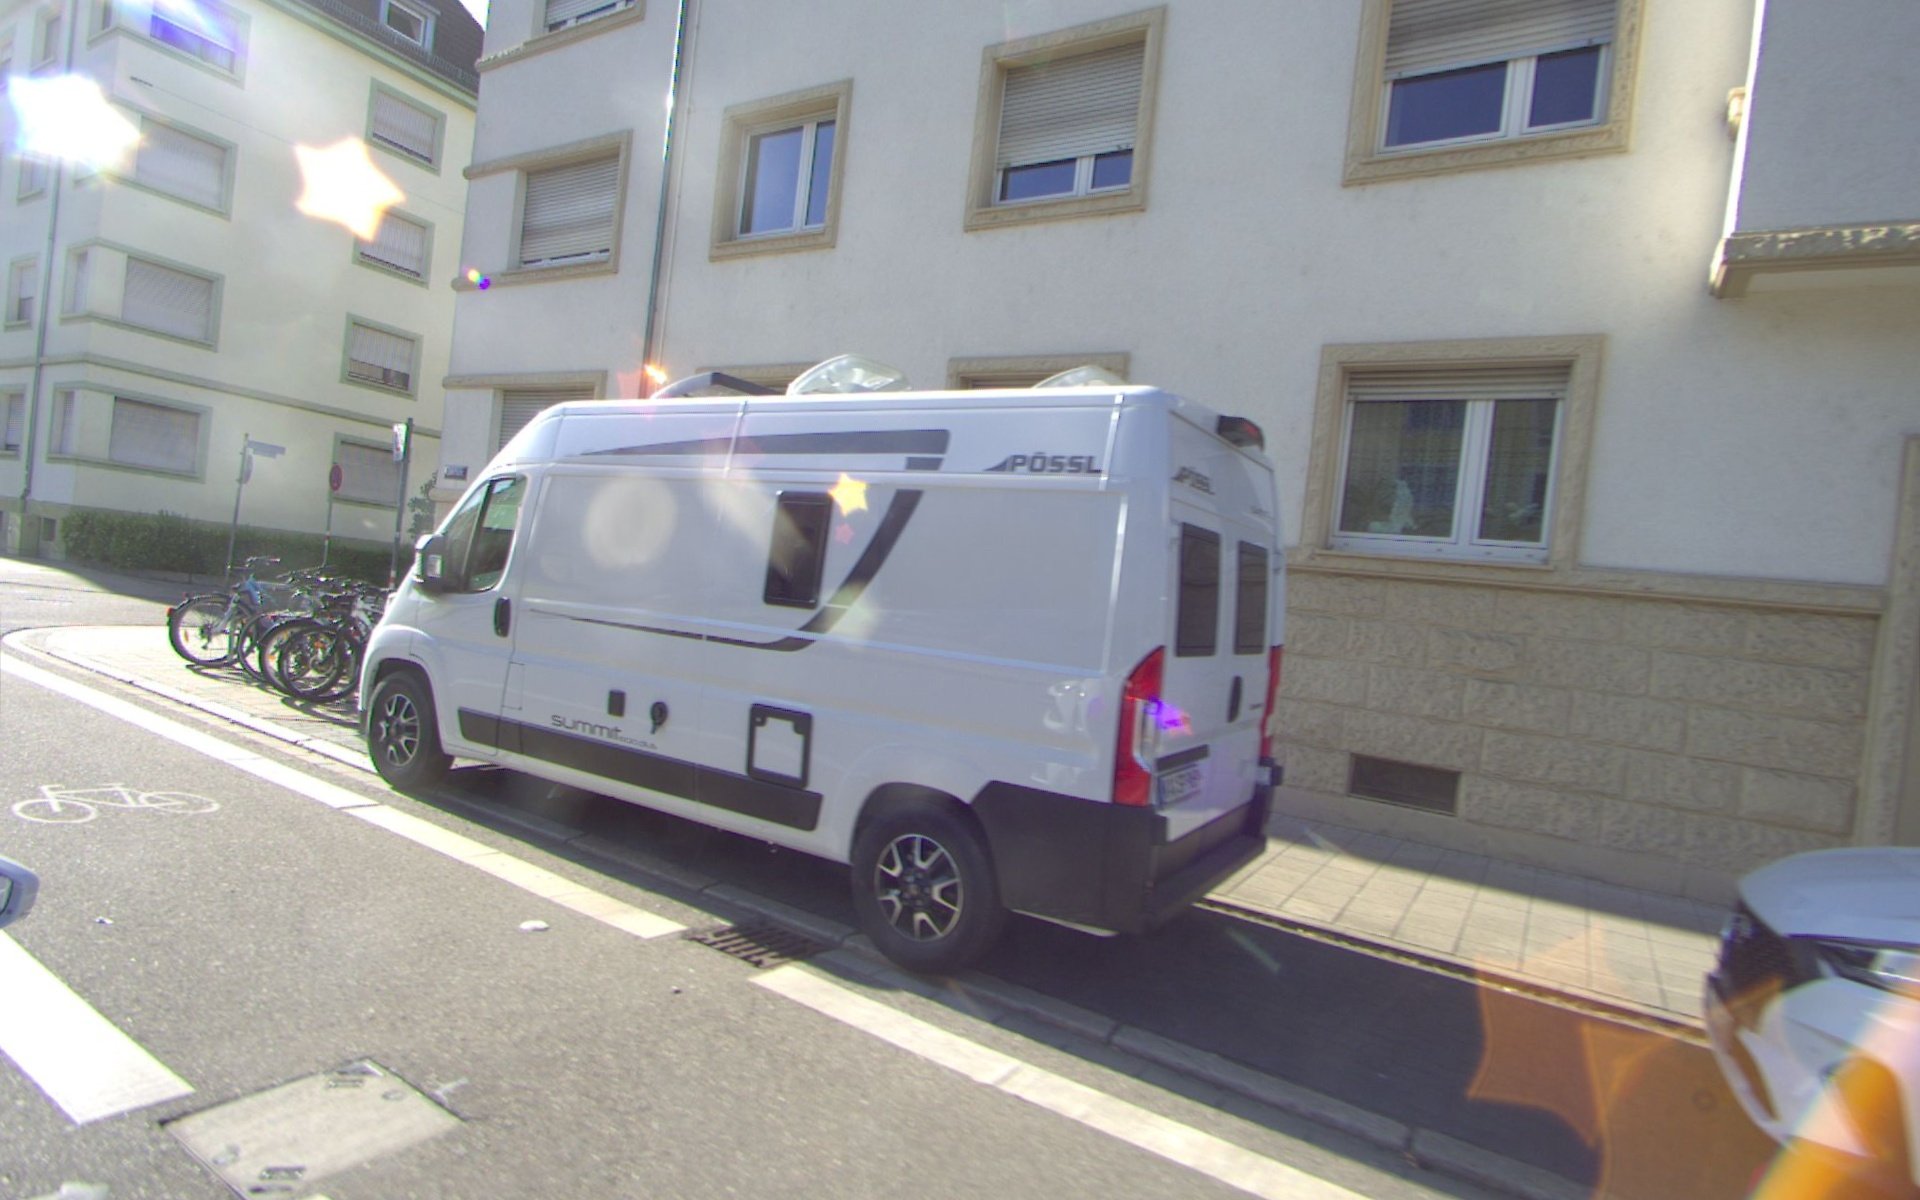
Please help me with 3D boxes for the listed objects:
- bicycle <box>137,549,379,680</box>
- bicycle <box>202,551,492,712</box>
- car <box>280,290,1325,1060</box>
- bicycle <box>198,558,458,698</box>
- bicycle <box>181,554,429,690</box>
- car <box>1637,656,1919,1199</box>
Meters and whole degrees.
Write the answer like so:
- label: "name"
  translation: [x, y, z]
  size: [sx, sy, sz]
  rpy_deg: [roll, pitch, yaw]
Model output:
- label: "bicycle"
  translation: [-6.955, 0.150, 10.044]
  size: [1.887, 1.102, 0.472]
  rpy_deg: [5, 4, -15]
- label: "bicycle"
  translation: [-5.293, 0.293, 8.808]
  size: [1.998, 1.099, 0.485]
  rpy_deg: [9, -1, -15]
- label: "car"
  translation: [-1.369, 0.004, 6.093]
  size: [6.188, 2.733, 2.151]
  rpy_deg: [7, 3, 32]
- label: "bicycle"
  translation: [-5.754, 0.275, 9.254]
  size: [1.887, 1.100, 0.473]
  rpy_deg: [5, -1, -15]
- label: "bicycle"
  translation: [-6.248, 0.215, 9.684]
  size: [1.887, 1.101, 0.472]
  rpy_deg: [6, 3, -15]
- label: "car"
  translation: [4.497, 1.266, 2.390]
  size: [4.497, 1.659, 1.849]
  rpy_deg: [7, 2, 30]
